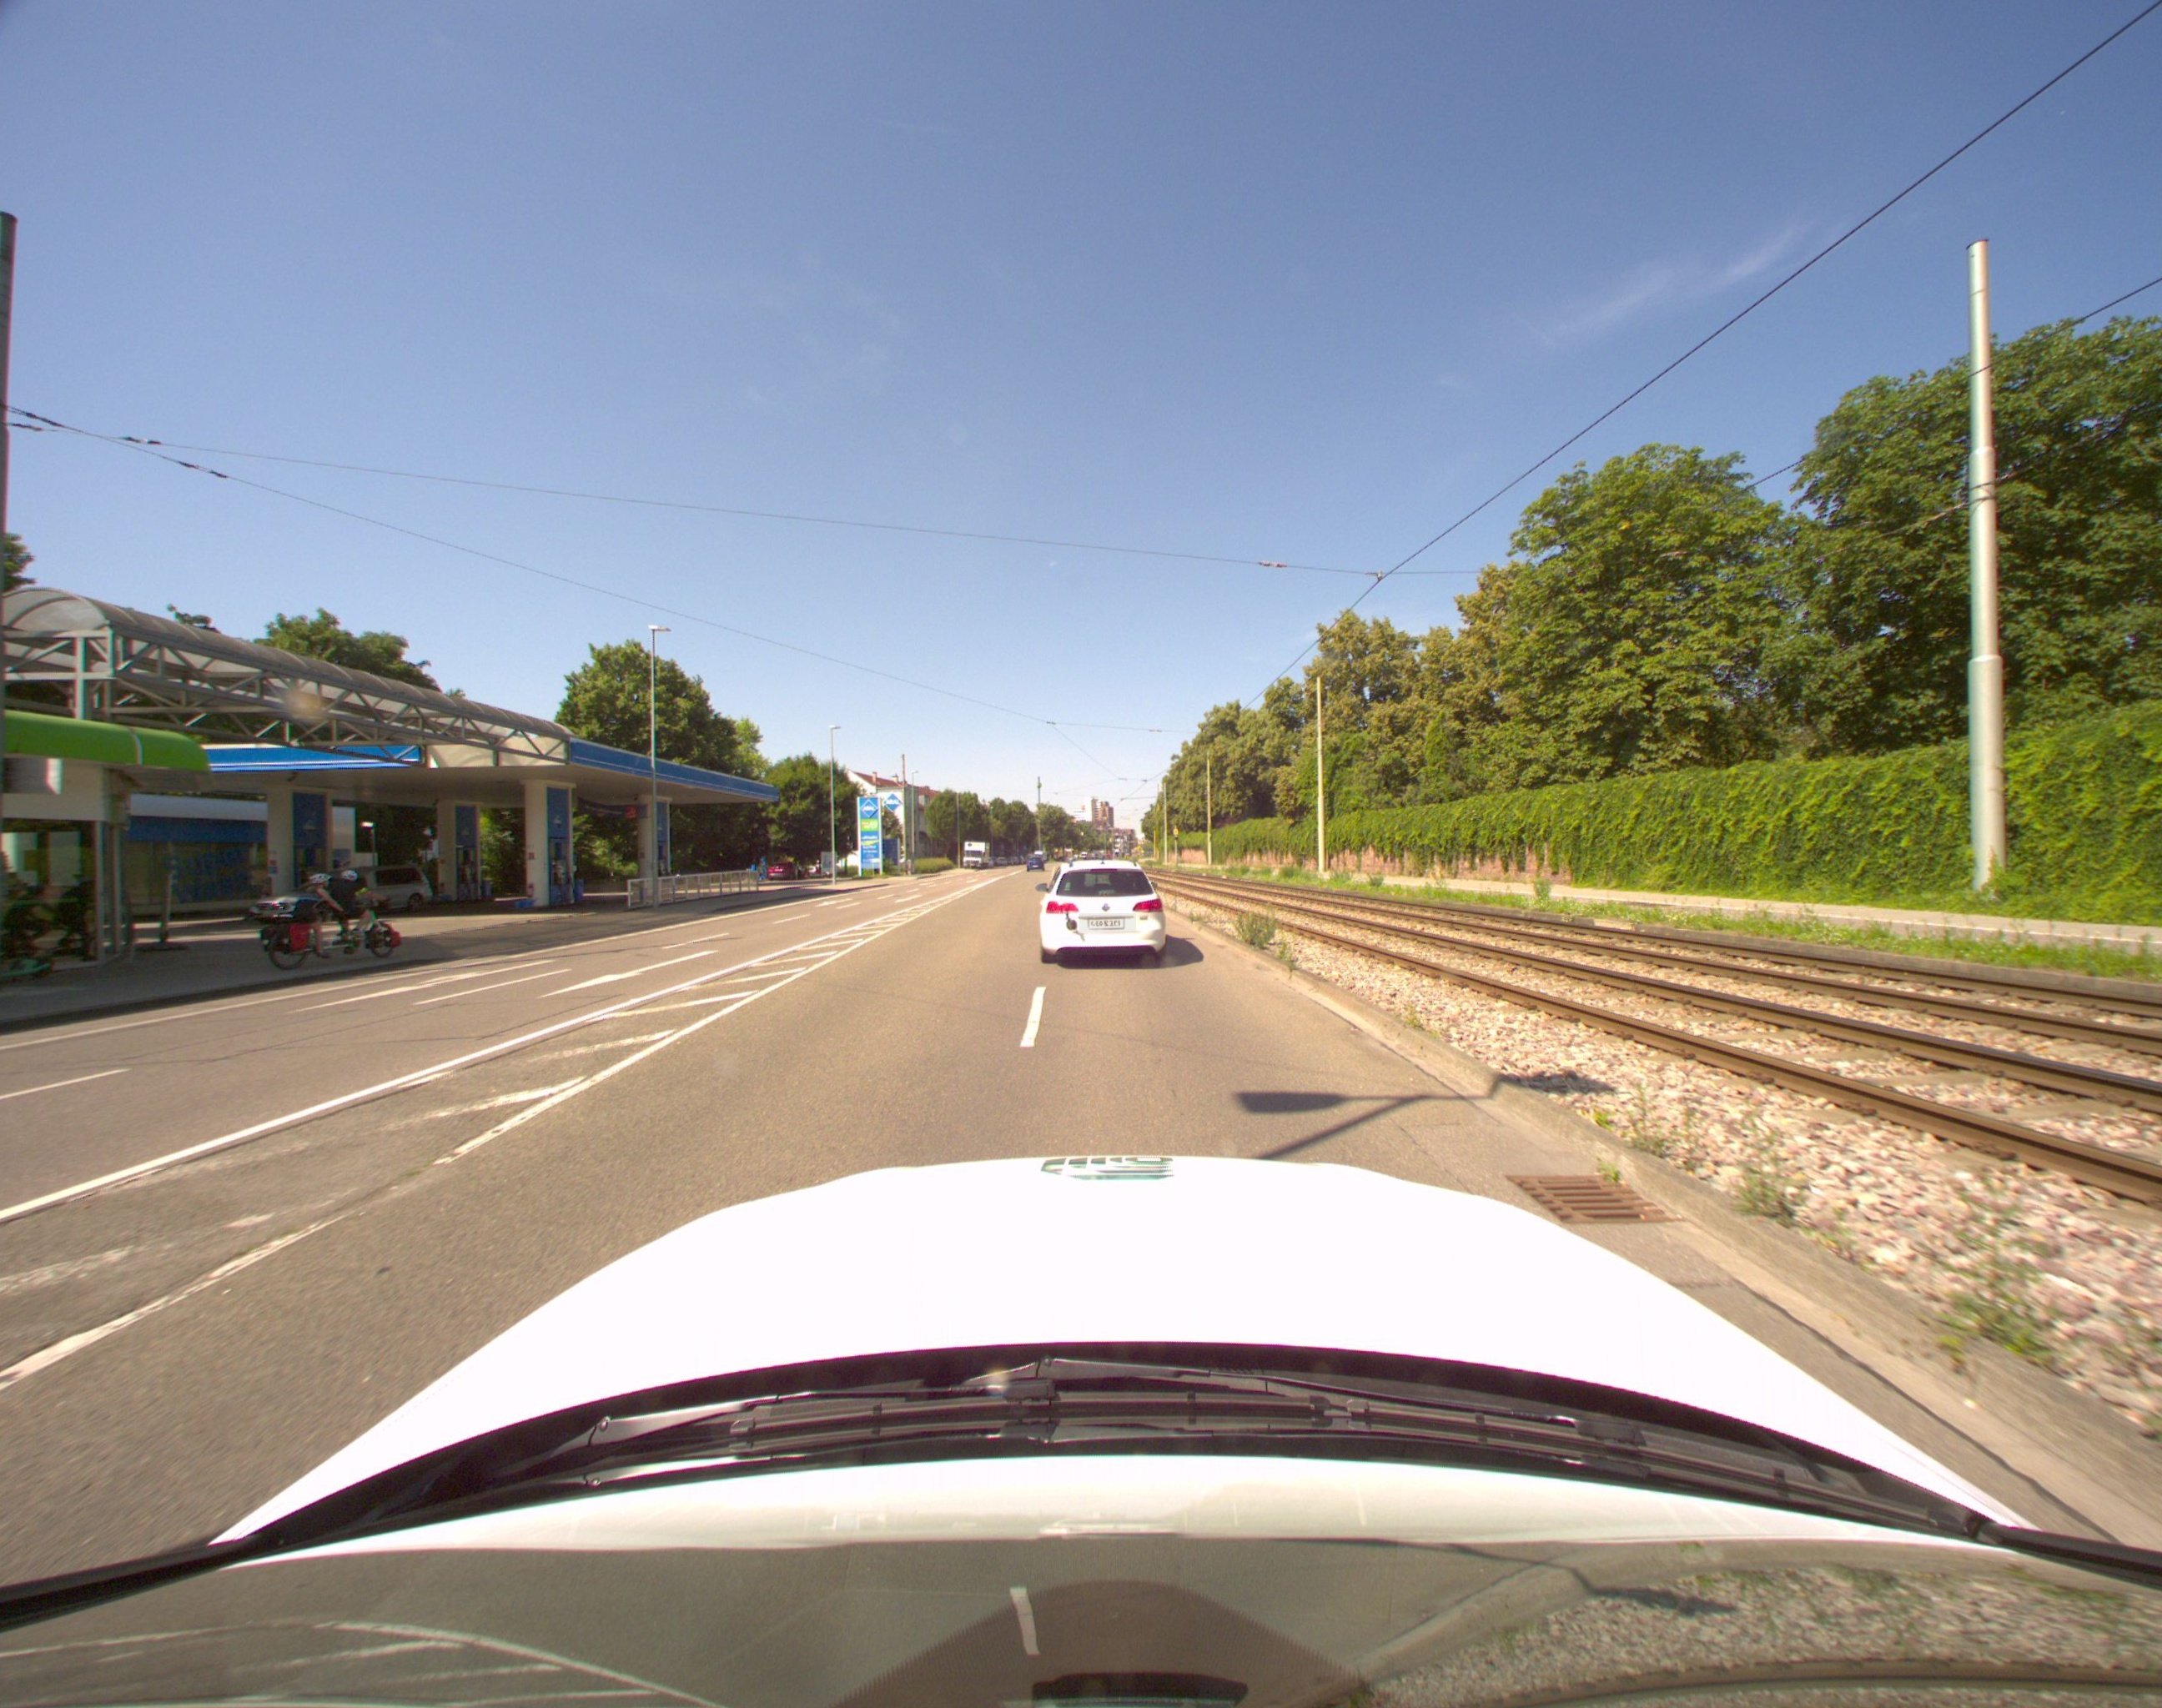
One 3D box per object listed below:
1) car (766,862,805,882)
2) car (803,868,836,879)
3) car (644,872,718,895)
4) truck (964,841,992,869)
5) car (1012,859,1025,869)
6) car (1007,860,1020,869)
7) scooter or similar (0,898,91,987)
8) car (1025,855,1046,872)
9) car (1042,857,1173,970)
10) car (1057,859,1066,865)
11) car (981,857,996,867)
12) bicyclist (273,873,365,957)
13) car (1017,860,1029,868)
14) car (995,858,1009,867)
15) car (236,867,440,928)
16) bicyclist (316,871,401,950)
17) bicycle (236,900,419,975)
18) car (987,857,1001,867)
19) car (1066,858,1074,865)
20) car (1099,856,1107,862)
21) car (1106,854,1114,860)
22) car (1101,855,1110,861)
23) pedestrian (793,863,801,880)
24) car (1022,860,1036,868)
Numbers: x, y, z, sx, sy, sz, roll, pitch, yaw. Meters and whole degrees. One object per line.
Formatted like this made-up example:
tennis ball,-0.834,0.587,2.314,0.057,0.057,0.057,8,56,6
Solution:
car,-25.839,1.564,71.388,1.795,1.570,4.515,-2,1,-2
car,-32.956,2.416,102.610,3.628,1.205,1.579,-2,0,9
car,-26.665,1.921,54.446,1.784,1.346,4.266,-2,0,22
truck,-13.508,0.152,107.128,2.659,3.530,8.586,0,0,-1
car,-11.931,1.887,155.882,1.762,1.723,4.872,1,0,2
car,-12.436,1.898,150.353,1.709,1.625,4.316,0,0,3
scooter or similar,-15.917,1.321,12.181,0.439,1.237,1.348,-2,0,8
car,-4.401,0.924,79.739,1.795,1.507,3.999,0,1,0
car,0.309,0.776,12.784,1.686,1.451,4.456,0,0,-1
car,-5.018,2.136,210.570,1.689,1.417,4.012,-2,-1,11
car,-13.588,1.205,120.330,1.752,1.429,4.279,0,0,-1
bicyclist,-13.810,1.088,14.786,0.844,1.435,0.832,-1,1,0
car,-11.463,2.007,161.352,1.682,1.474,4.054,1,0,5
car,-13.346,1.428,137.712,1.775,1.483,4.856,0,-1,0
car,-25.765,1.419,28.642,1.839,1.781,5.959,-2,0,-2
bicyclist,-13.771,1.055,15.554,0.844,1.435,0.832,-1,0,0
bicycle,-13.840,1.482,15.124,0.823,1.094,2.771,-2,0,0
car,-13.538,1.276,127.066,1.725,1.552,4.317,0,0,0
car,-2.619,1.785,193.915,1.651,1.420,4.314,-3,-1,4
car,5.653,1.229,207.318,1.791,1.507,4.007,0,0,7
car,7.856,0.751,221.129,1.791,1.460,4.007,-2,-1,7
car,6.419,0.966,212.979,1.791,1.460,4.007,0,0,7
pedestrian,-25.084,1.567,71.911,0.497,1.481,0.500,-2,-1,-2
car,-10.665,2.040,166.470,1.790,1.724,4.920,1,0,8
